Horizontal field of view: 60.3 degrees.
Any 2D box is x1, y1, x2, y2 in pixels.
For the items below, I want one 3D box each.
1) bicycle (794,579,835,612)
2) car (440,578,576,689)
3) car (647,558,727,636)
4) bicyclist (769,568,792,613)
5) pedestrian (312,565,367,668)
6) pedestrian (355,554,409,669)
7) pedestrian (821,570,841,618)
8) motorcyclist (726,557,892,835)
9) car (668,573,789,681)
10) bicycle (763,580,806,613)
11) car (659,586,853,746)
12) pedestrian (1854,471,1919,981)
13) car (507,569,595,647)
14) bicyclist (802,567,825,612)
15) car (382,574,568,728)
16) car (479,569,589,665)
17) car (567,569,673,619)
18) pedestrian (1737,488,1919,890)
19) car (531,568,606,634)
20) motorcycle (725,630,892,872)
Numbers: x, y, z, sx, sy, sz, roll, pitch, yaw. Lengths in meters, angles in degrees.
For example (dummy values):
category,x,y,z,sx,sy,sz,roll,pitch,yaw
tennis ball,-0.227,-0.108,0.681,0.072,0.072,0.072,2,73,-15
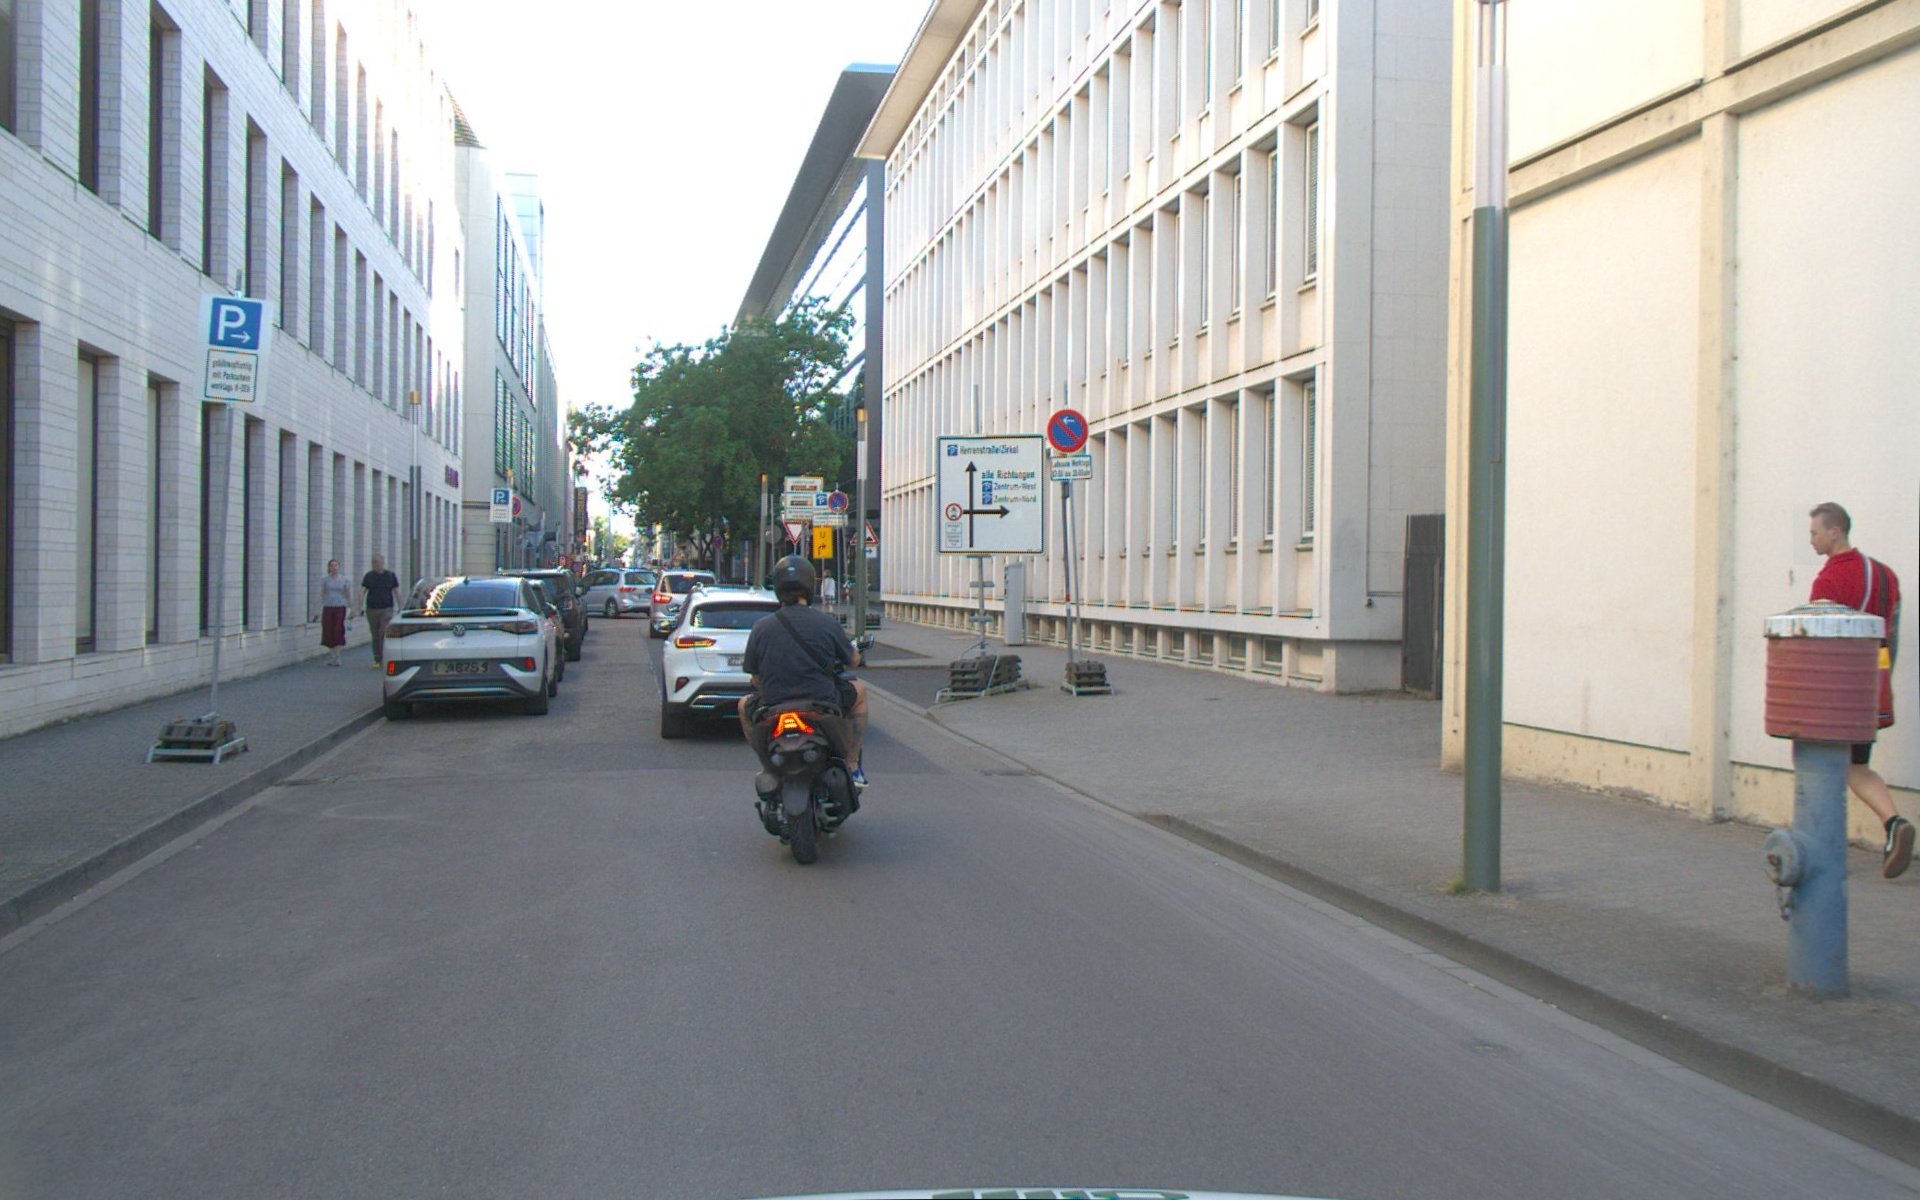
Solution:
category,x,y,z,sx,sy,sz,roll,pitch,yaw
bicycle,-5.783,-0.176,65.801,1.530,1.271,0.552,0,1,9
car,-7.029,0.461,26.016,1.778,1.554,3.506,-2,1,-11
car,-7.078,-0.100,42.564,1.890,1.889,3.989,-1,1,-11
bicyclist,-6.988,-0.380,64.426,0.731,1.736,0.738,0,1,10
pedestrian,-10.142,0.257,27.044,0.692,1.642,0.858,-1,1,-11
pedestrian,-9.304,0.170,26.636,0.692,1.817,0.725,-1,1,-11
pedestrian,-4.347,-0.205,55.703,0.631,1.629,0.619,-1,1,-9
motorcyclist,-0.917,0.541,10.145,0.935,1.587,1.238,-1,1,-5
car,-3.787,0.367,26.633,1.742,1.577,4.096,-1,1,-10
bicycle,-6.827,-0.135,64.389,1.530,1.271,0.552,0,1,9
car,-2.189,0.626,17.993,1.823,1.498,3.995,1,1,-6
pedestrian,3.836,0.444,5.636,0.702,1.833,1.243,-3,1,-12
car,-9.228,0.150,37.518,1.745,1.634,3.506,-2,1,-11
bicyclist,-5.813,-0.421,65.803,0.731,1.736,0.738,0,1,10
car,-5.831,0.517,20.320,1.778,1.634,4.256,-2,1,-11
car,-8.001,0.271,31.310,1.778,1.674,3.506,-2,1,-11
car,-11.621,-0.225,56.410,1.888,1.624,3.940,0,1,-41
pedestrian,4.371,0.393,8.038,0.696,1.833,0.773,-3,1,-12
car,-10.339,-0.008,43.868,1.745,1.634,3.506,-2,1,-11
motorcycle,-0.918,0.835,10.214,0.888,1.204,2.576,-1,1,-5
